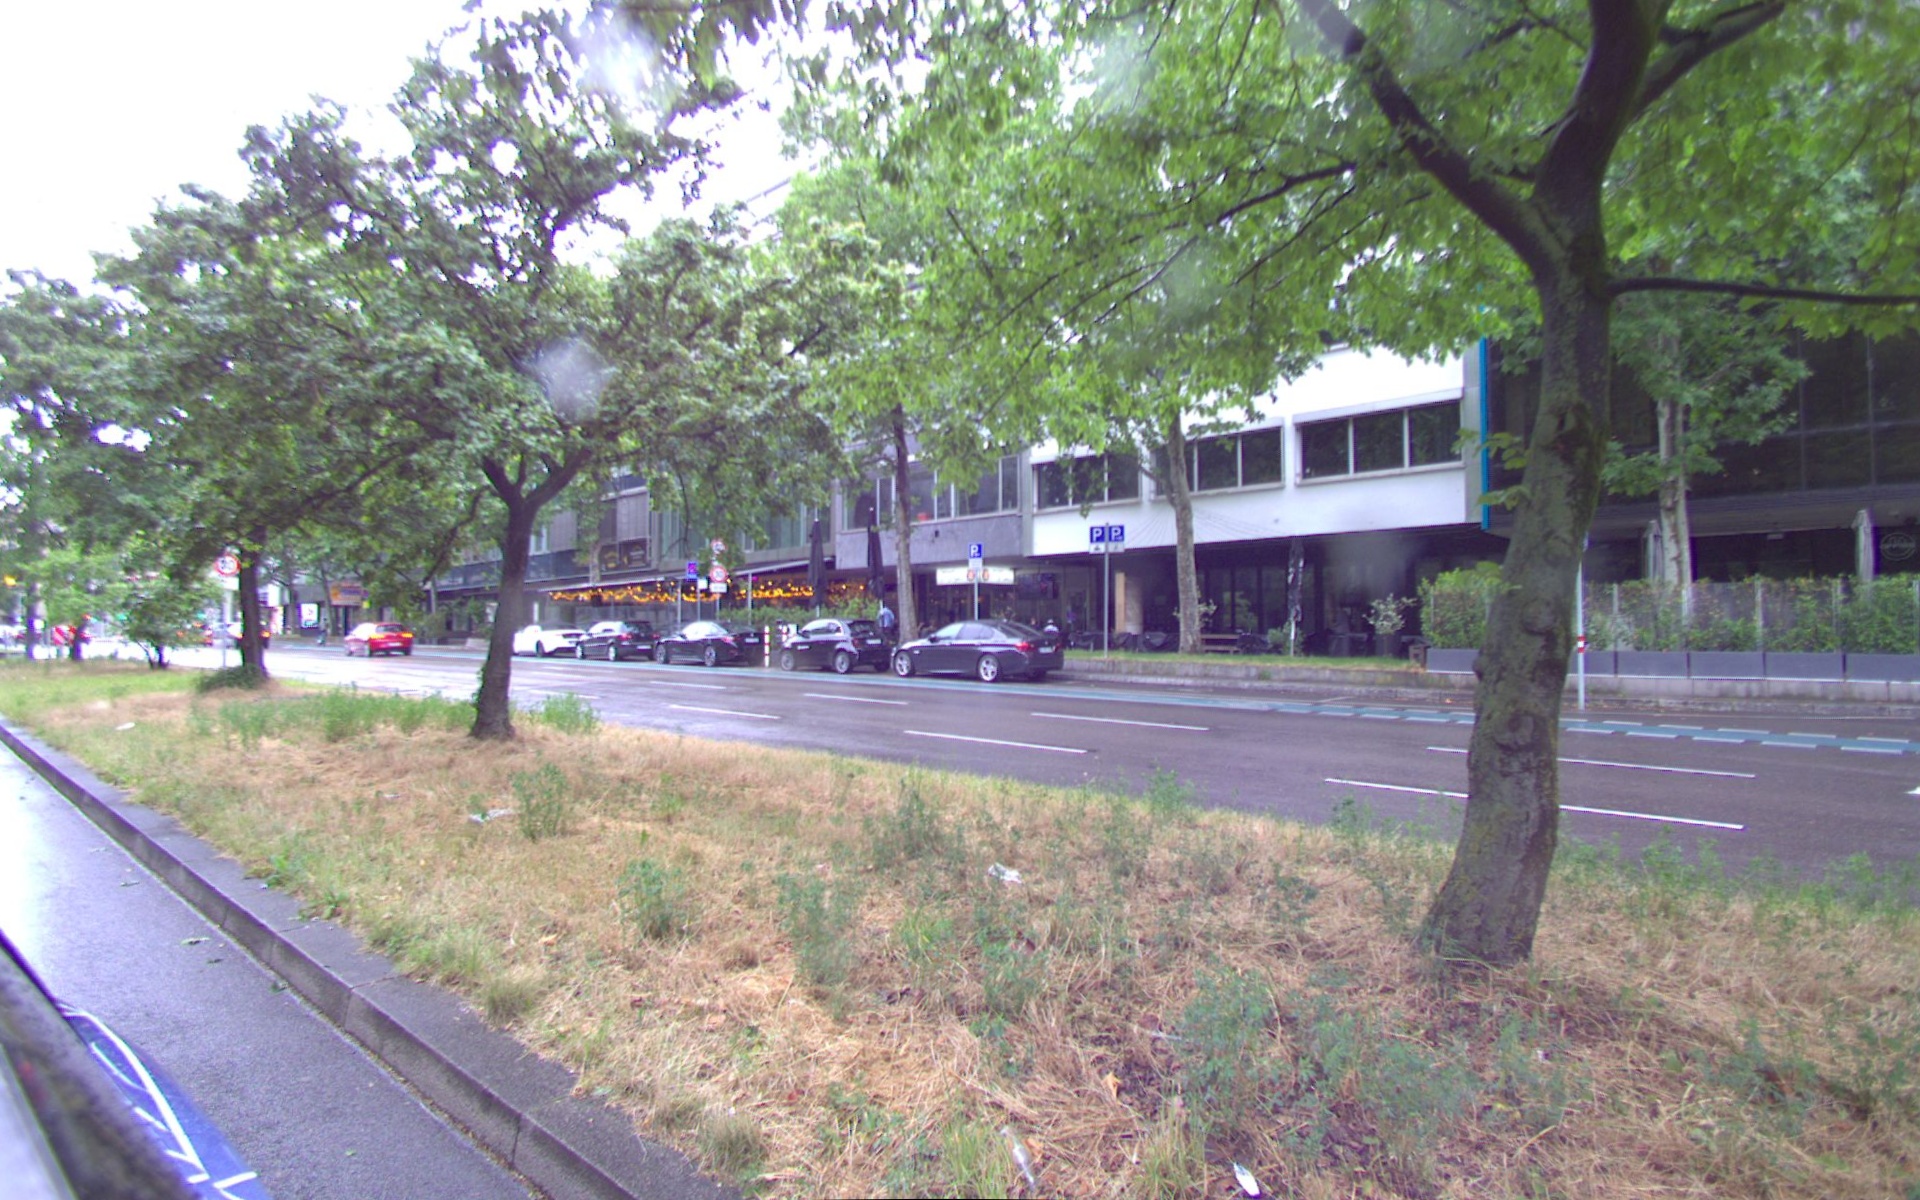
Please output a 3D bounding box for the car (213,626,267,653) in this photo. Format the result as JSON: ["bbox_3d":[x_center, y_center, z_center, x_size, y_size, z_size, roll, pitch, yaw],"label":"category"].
[{"bbox_3d":[-41.784,2.274,58.707,4.106,1.427,1.843,-1,0,44],"label":"car"}]

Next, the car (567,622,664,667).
[{"bbox_3d":[-12.490,1.565,36.590,3.788,1.464,1.727,-1,0,42],"label":"car"}]

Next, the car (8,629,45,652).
[{"bbox_3d":[-72.094,3.093,78.171,3.820,1.588,1.856,-1,0,44],"label":"car"}]

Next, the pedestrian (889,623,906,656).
[{"bbox_3d":[-2.313,1.456,37.376,0.459,1.195,0.446,-1,0,-36],"label":"pedestrian"}]

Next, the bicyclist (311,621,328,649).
[{"bbox_3d":[-37.854,2.067,59.832,0.609,1.582,0.705,-1,0,43],"label":"bicyclist"}]

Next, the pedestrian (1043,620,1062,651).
[{"bbox_3d":[3.010,1.144,32.924,0.451,0.970,0.454,-1,0,26],"label":"pedestrian"}]

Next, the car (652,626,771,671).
[{"bbox_3d":[-7.992,1.516,32.385,4.319,1.249,1.625,-1,0,44],"label":"car"}]

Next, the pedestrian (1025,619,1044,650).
[{"bbox_3d":[2.462,1.142,33.318,0.488,1.008,0.481,-1,0,26],"label":"pedestrian"}]

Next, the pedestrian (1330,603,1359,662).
[{"bbox_3d":[10.937,0.909,28.781,0.623,1.660,0.598,-1,0,37],"label":"pedestrian"}]

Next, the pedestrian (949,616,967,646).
[{"bbox_3d":[-0.058,1.080,35.435,0.423,1.024,0.459,-1,0,39],"label":"pedestrian"}]

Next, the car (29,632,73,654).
[{"bbox_3d":[-61.921,2.917,68.918,3.524,1.400,1.657,-1,0,39],"label":"car"}]

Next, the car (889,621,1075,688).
[{"bbox_3d":[0.448,1.266,24.748,1.849,1.396,4.539,-1,0,-45],"label":"car"}]

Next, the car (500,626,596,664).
[{"bbox_3d":[-16.501,1.748,40.408,4.392,1.336,1.856,-1,0,43],"label":"car"}]

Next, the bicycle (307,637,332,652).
[{"bbox_3d":[-37.904,2.627,59.882,2.232,0.849,0.705,-1,0,44],"label":"bicycle"}]

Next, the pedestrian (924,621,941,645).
[{"bbox_3d":[-0.975,1.177,36.463,0.433,0.856,0.435,-1,0,39],"label":"pedestrian"}]

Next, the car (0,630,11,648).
[{"bbox_3d":[-80.697,3.292,84.542,3.524,1.400,1.657,-1,0,39],"label":"car"}]

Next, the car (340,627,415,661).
[{"bbox_3d":[-25.219,1.866,43.786,3.737,1.335,1.742,-1,0,42],"label":"car"}]

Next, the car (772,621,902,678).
[{"bbox_3d":[-3.463,1.328,28.277,3.400,1.433,1.851,-1,0,42],"label":"car"}]

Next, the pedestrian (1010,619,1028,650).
[{"bbox_3d":[1.964,1.142,33.502,0.461,1.000,0.455,-1,0,26],"label":"pedestrian"}]
